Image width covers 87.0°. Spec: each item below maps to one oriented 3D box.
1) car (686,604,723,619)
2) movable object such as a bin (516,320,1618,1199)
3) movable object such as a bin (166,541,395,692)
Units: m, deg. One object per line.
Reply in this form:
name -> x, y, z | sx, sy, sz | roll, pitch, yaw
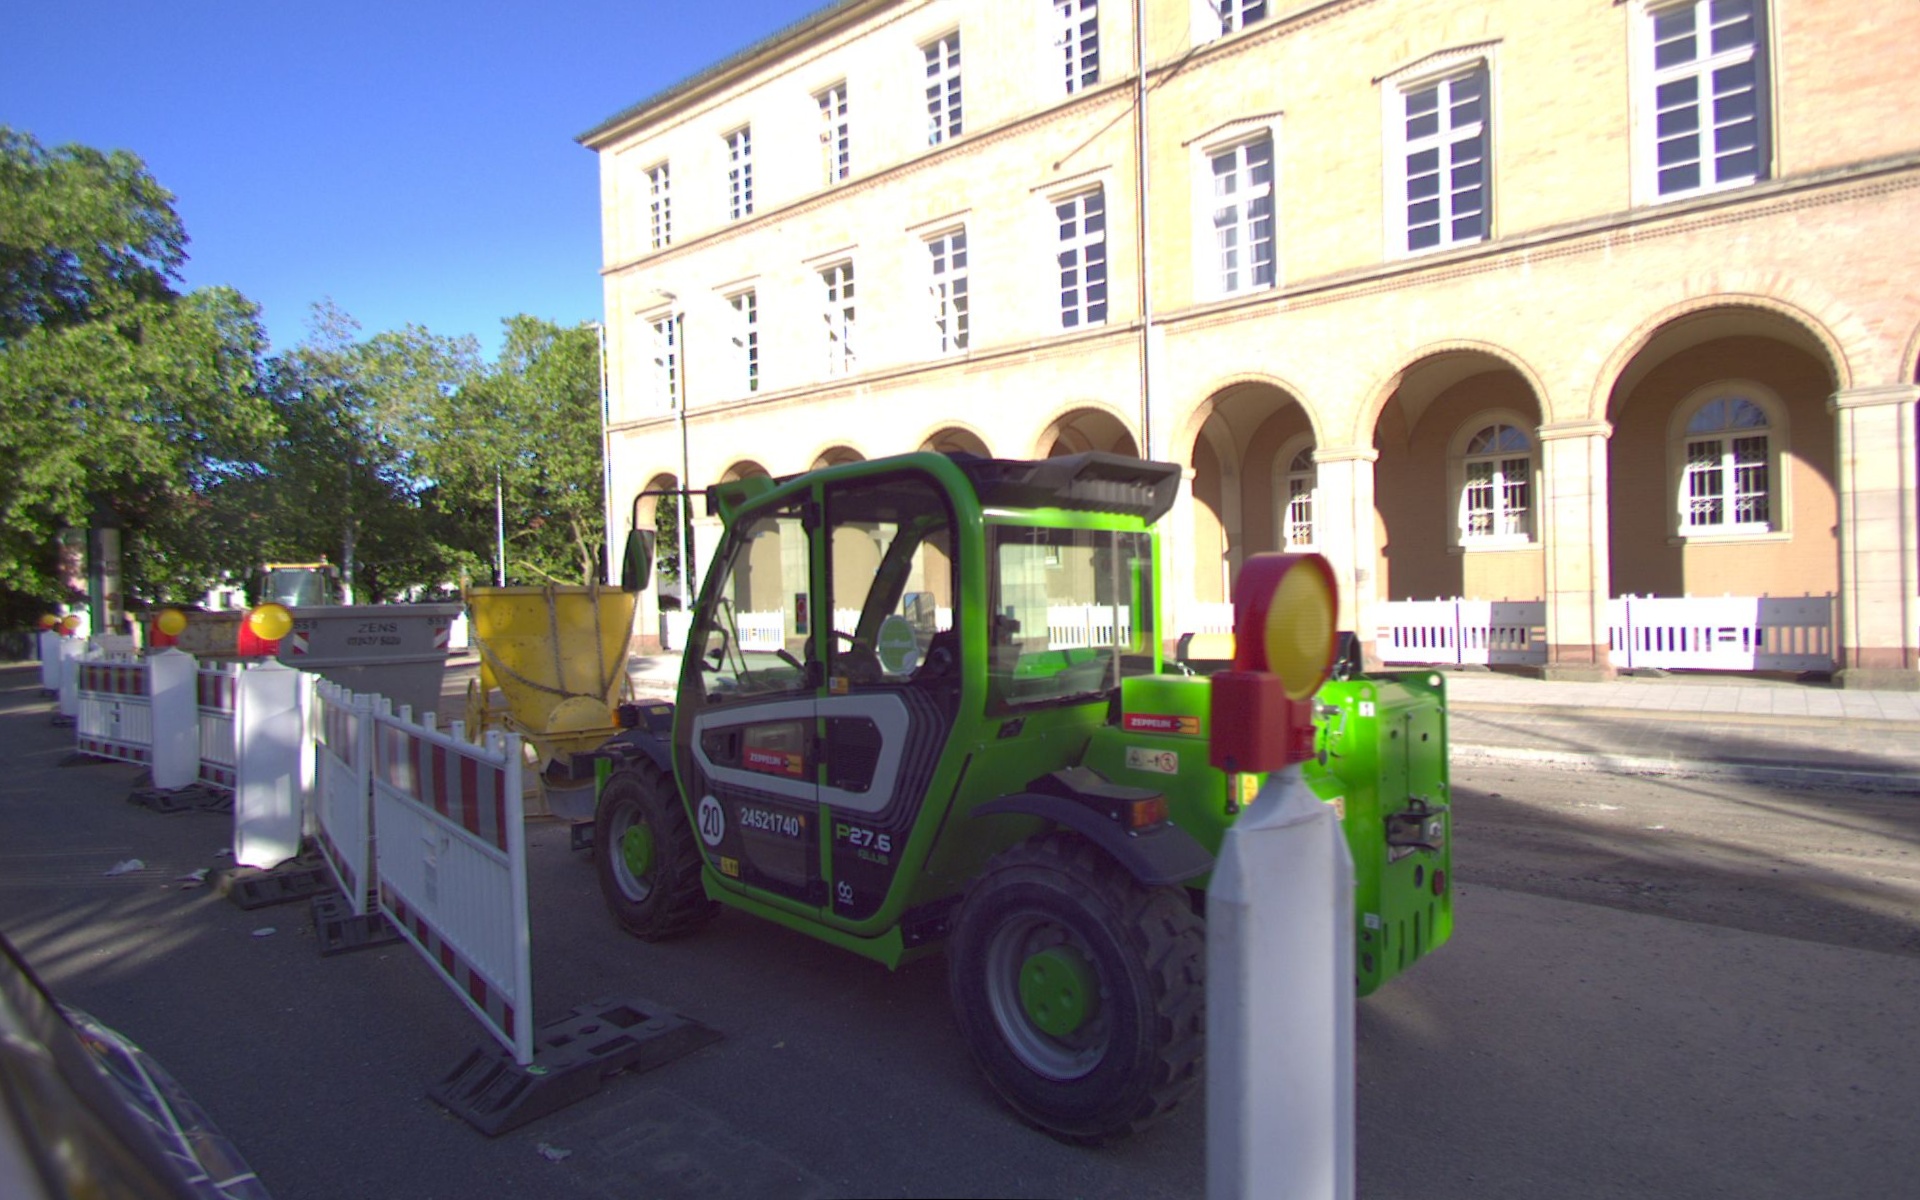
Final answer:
car -> -27.919, 1.248, 110.482 | 3.836, 1.496, 1.613 | -1, 0, 31
movable object such as a bin -> -0.010, 0.465, 4.323 | 2.026, 1.964, 4.337 | -2, -1, -44
movable object such as a bin -> -15.518, 0.308, 23.645 | 2.524, 3.054, 5.947 | -1, 0, -14
